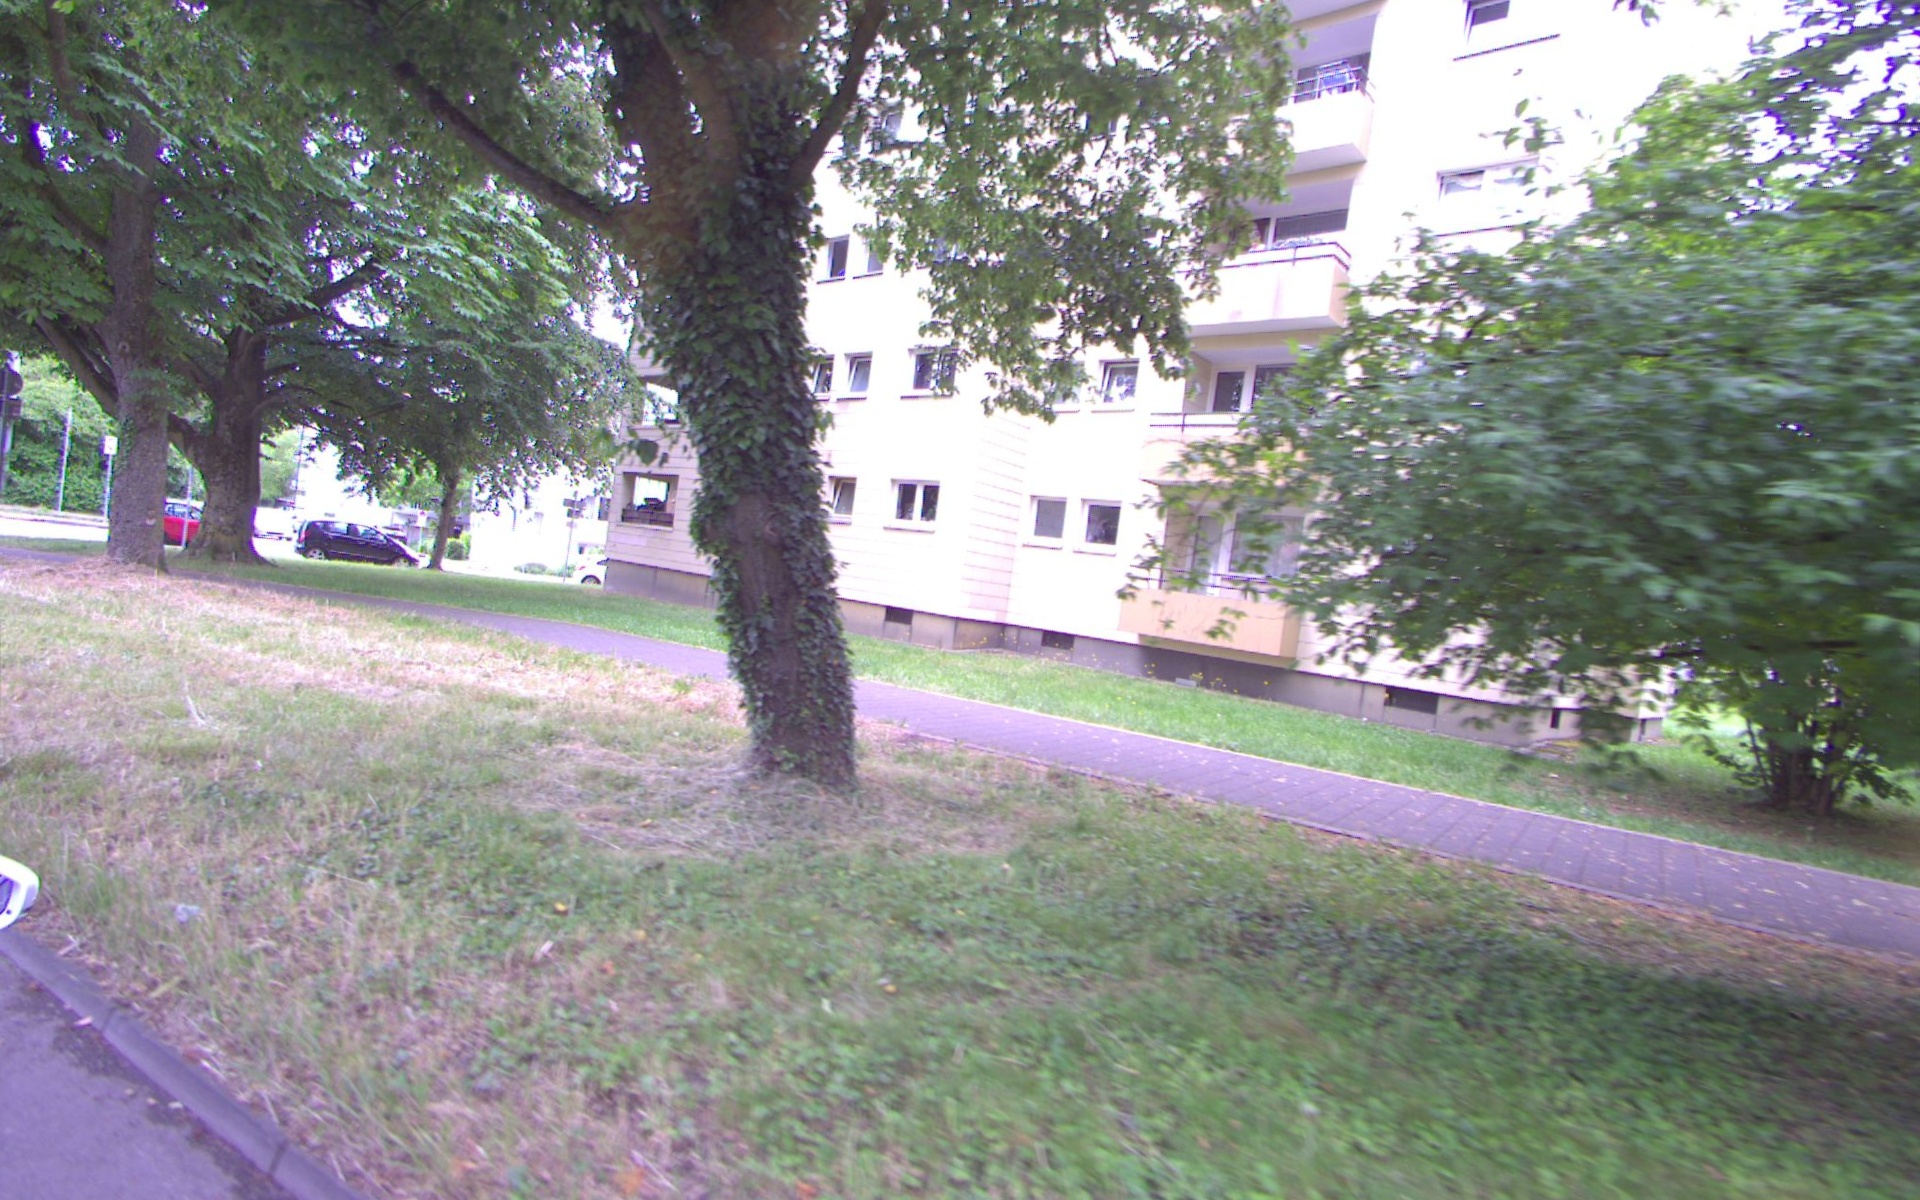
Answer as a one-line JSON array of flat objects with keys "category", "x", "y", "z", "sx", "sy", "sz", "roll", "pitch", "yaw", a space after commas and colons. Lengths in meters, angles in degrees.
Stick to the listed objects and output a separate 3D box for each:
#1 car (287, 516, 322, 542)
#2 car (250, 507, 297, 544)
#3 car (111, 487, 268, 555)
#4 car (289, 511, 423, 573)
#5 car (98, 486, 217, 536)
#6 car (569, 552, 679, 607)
[{"category": "car", "x": -48.971, "y": -5.329, "z": 75.122, "sx": 1.714, "sy": 1.632, "sz": 3.810, "roll": 5, "pitch": 2, "yaw": -39}, {"category": "car", "x": -35.288, "y": -3.825, "z": 51.771, "sx": 1.710, "sy": 1.632, "sz": 3.820, "roll": 5, "pitch": 2, "yaw": -32}, {"category": "car", "x": -24.343, "y": -2.474, "z": 31.875, "sx": 1.701, "sy": 1.632, "sz": 3.517, "roll": 8, "pitch": 2, "yaw": 35}, {"category": "car", "x": -20.956, "y": -2.000, "z": 34.956, "sx": 3.816, "sy": 1.632, "sz": 1.712, "roll": 6, "pitch": 2, "yaw": -35}, {"category": "car", "x": -33.529, "y": -3.702, "z": 42.072, "sx": 1.701, "sy": 1.550, "sz": 3.516, "roll": 8, "pitch": 2, "yaw": 36}, {"category": "car", "x": -12.874, "y": -0.797, "z": 38.599, "sx": 3.798, "sy": 1.632, "sz": 1.720, "roll": 6, "pitch": 2, "yaw": -19}]
